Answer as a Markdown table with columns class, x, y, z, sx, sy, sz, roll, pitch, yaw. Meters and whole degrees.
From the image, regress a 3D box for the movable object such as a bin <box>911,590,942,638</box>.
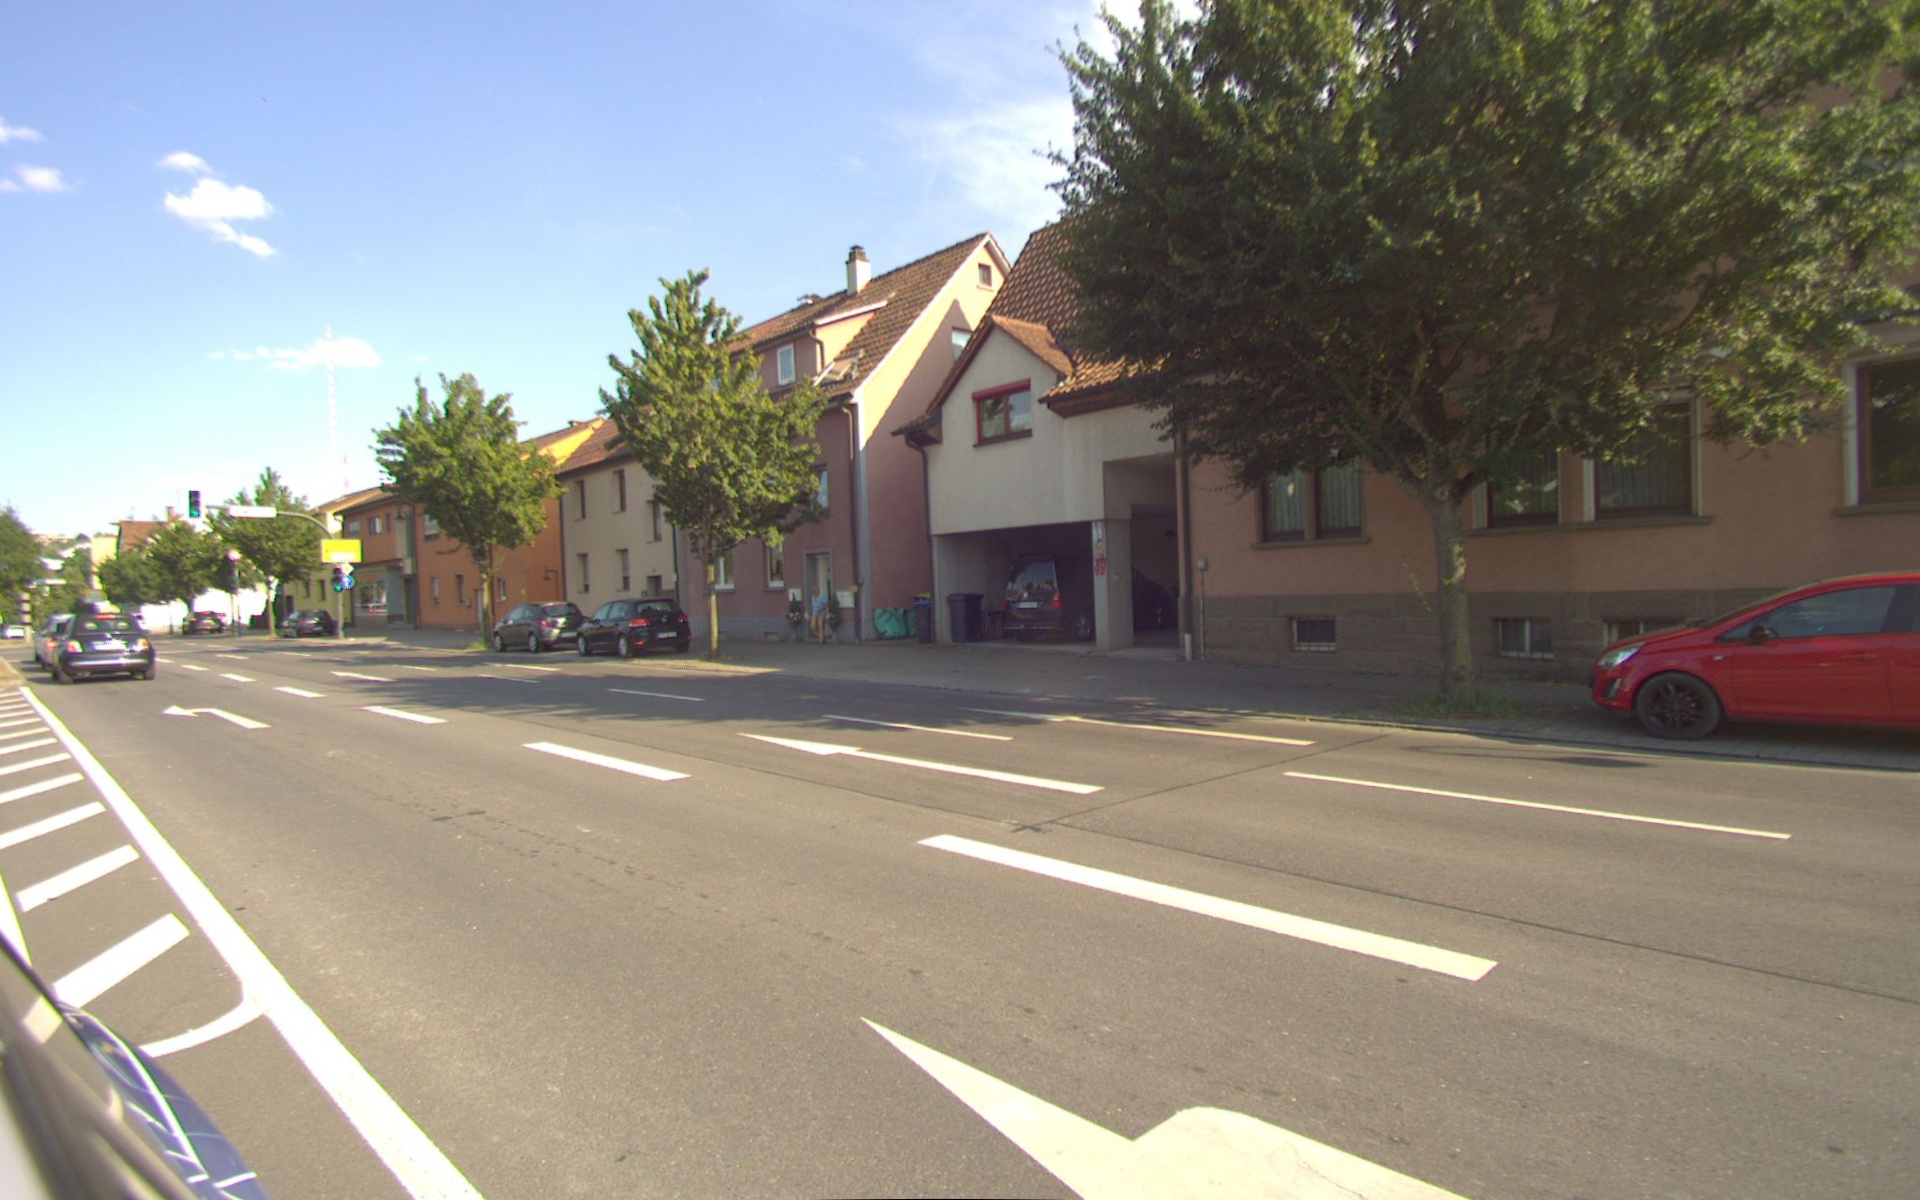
| class | x | y | z | sx | sy | sz | roll | pitch | yaw |
| --- | --- | --- | --- | --- | --- | --- | --- | --- | --- |
| movable object such as a bin | -0.839 | 0.349 | 25.147 | 0.498 | 1.151 | 0.547 | -2 | 0 | -44 |

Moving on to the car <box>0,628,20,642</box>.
| class | x | y | z | sx | sy | sz | roll | pitch | yaw |
| --- | --- | --- | --- | --- | --- | --- | --- | --- | --- |
| car | -101.293 | 3.743 | 107.586 | 4.000 | 1.422 | 1.738 | -2 | 0 | 43 |

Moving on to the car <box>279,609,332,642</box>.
| class | x | y | z | sx | sy | sz | roll | pitch | yaw |
| --- | --- | --- | --- | --- | --- | --- | --- | --- | --- |
| car | -33.277 | 1.295 | 51.426 | 1.573 | 1.449 | 3.779 | -7 | 4 | -42 |

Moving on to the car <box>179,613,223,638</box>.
| class | x | y | z | sx | sy | sz | roll | pitch | yaw |
| --- | --- | --- | --- | --- | --- | --- | --- | --- | --- |
| car | -51.709 | 1.748 | 68.881 | 1.833 | 1.607 | 4.463 | -2 | 0 | -44 |

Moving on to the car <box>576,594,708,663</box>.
| class | x | y | z | sx | sy | sz | roll | pitch | yaw |
| --- | --- | --- | --- | --- | --- | --- | --- | --- | --- |
| car | -8.200 | 0.705 | 25.932 | 1.646 | 1.543 | 3.907 | -5 | 2 | -42 |

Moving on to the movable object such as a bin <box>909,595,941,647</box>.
| class | x | y | z | sx | sy | sz | roll | pitch | yaw |
| --- | --- | --- | --- | --- | --- | --- | --- | --- | --- |
| movable object such as a bin | -0.785 | 0.462 | 22.639 | 0.501 | 1.146 | 0.470 | -2 | 0 | 44 |

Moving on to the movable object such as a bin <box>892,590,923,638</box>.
| class | x | y | z | sx | sy | sz | roll | pitch | yaw |
| --- | --- | --- | --- | --- | --- | --- | --- | --- | --- |
| movable object such as a bin | -1.294 | 0.353 | 24.752 | 0.498 | 1.151 | 0.530 | -2 | 0 | -44 |

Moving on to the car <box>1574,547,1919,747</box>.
| class | x | y | z | sx | sy | sz | roll | pitch | yaw |
| --- | --- | --- | --- | --- | --- | --- | --- | --- | --- |
| car | 7.770 | 0.338 | 8.627 | 1.646 | 1.498 | 4.006 | -5 | 3 | -41 |

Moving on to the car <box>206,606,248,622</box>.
| class | x | y | z | sx | sy | sz | roll | pitch | yaw |
| --- | --- | --- | --- | --- | --- | --- | --- | --- | --- |
| car | -74.819 | 1.429 | 103.361 | 1.601 | 1.555 | 3.427 | -2 | -1 | 4 |

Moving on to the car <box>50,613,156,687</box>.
| class | x | y | z | sx | sy | sz | roll | pitch | yaw |
| --- | --- | --- | --- | --- | --- | --- | --- | --- | --- |
| car | -19.224 | 1.078 | 22.651 | 1.515 | 1.473 | 3.508 | -2 | 0 | -45 |

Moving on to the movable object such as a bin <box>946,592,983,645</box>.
| class | x | y | z | sx | sy | sz | roll | pitch | yaw |
| --- | --- | --- | --- | --- | --- | --- | --- | --- | --- |
| movable object such as a bin | 0.101 | 0.404 | 22.197 | 0.575 | 1.151 | 0.560 | -2 | 0 | 39 |

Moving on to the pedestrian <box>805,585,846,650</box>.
| class | x | y | z | sx | sy | sz | roll | pitch | yaw |
| --- | --- | --- | --- | --- | --- | --- | --- | --- | --- |
| pedestrian | -3.449 | 0.447 | 25.971 | 0.774 | 1.619 | 0.716 | -1 | 0 | 27 |

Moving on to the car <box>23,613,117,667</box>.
| class | x | y | z | sx | sy | sz | roll | pitch | yaw |
| --- | --- | --- | --- | --- | --- | --- | --- | --- | --- |
| car | -27.882 | 1.227 | 31.668 | 4.567 | 1.500 | 1.815 | -2 | 0 | 44 |

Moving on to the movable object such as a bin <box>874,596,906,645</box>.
| class | x | y | z | sx | sy | sz | roll | pitch | yaw |
| --- | --- | --- | --- | --- | --- | --- | --- | --- | --- |
| movable object such as a bin | -1.686 | 0.497 | 24.382 | 0.544 | 1.151 | 0.530 | -2 | 0 | -44 |

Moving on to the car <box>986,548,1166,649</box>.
| class | x | y | z | sx | sy | sz | roll | pitch | yaw |
| --- | --- | --- | --- | --- | --- | --- | --- | --- | --- |
| car | 2.544 | -0.081 | 21.652 | 3.778 | 1.895 | 1.780 | -5 | 2 | -45 |

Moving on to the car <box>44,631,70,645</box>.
| class | x | y | z | sx | sy | sz | roll | pitch | yaw |
| --- | --- | --- | --- | --- | --- | --- | --- | --- | --- |
| car | -95.467 | 3.986 | 106.987 | 4.000 | 1.422 | 1.738 | -2 | 0 | 43 |

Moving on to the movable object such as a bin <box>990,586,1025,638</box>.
| class | x | y | z | sx | sy | sz | roll | pitch | yaw |
| --- | --- | --- | --- | --- | --- | --- | --- | --- | --- |
| movable object such as a bin | 1.095 | 0.277 | 23.290 | 0.575 | 1.151 | 0.560 | -2 | 0 | 39 |

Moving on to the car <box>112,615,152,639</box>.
| class | x | y | z | sx | sy | sz | roll | pitch | yaw |
| --- | --- | --- | --- | --- | --- | --- | --- | --- | --- |
| car | -58.896 | 1.899 | 71.988 | 4.414 | 1.624 | 1.667 | -2 | 0 | 44 |

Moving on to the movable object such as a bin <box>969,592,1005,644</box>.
| class | x | y | z | sx | sy | sz | roll | pitch | yaw |
| --- | --- | --- | --- | --- | --- | --- | --- | --- | --- |
| movable object such as a bin | 0.612 | 0.406 | 22.806 | 0.575 | 1.151 | 0.560 | -2 | 0 | 39 |

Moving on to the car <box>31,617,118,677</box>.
| class | x | y | z | sx | sy | sz | roll | pitch | yaw |
| --- | --- | --- | --- | --- | --- | --- | --- | --- | --- |
| car | -23.823 | 1.206 | 27.190 | 1.570 | 1.438 | 3.581 | -1 | 0 | -44 |

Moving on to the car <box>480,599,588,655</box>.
| class | x | y | z | sx | sy | sz | roll | pitch | yaw |
| --- | --- | --- | --- | --- | --- | --- | --- | --- | --- |
| car | -12.879 | 0.815 | 30.485 | 3.886 | 1.521 | 1.496 | -2 | 2 | 43 |

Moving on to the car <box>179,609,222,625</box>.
| class | x | y | z | sx | sy | sz | roll | pitch | yaw |
| --- | --- | --- | --- | --- | --- | --- | --- | --- | --- |
| car | -79.038 | 1.813 | 105.302 | 1.837 | 1.638 | 3.408 | 0 | -2 | 2 |
